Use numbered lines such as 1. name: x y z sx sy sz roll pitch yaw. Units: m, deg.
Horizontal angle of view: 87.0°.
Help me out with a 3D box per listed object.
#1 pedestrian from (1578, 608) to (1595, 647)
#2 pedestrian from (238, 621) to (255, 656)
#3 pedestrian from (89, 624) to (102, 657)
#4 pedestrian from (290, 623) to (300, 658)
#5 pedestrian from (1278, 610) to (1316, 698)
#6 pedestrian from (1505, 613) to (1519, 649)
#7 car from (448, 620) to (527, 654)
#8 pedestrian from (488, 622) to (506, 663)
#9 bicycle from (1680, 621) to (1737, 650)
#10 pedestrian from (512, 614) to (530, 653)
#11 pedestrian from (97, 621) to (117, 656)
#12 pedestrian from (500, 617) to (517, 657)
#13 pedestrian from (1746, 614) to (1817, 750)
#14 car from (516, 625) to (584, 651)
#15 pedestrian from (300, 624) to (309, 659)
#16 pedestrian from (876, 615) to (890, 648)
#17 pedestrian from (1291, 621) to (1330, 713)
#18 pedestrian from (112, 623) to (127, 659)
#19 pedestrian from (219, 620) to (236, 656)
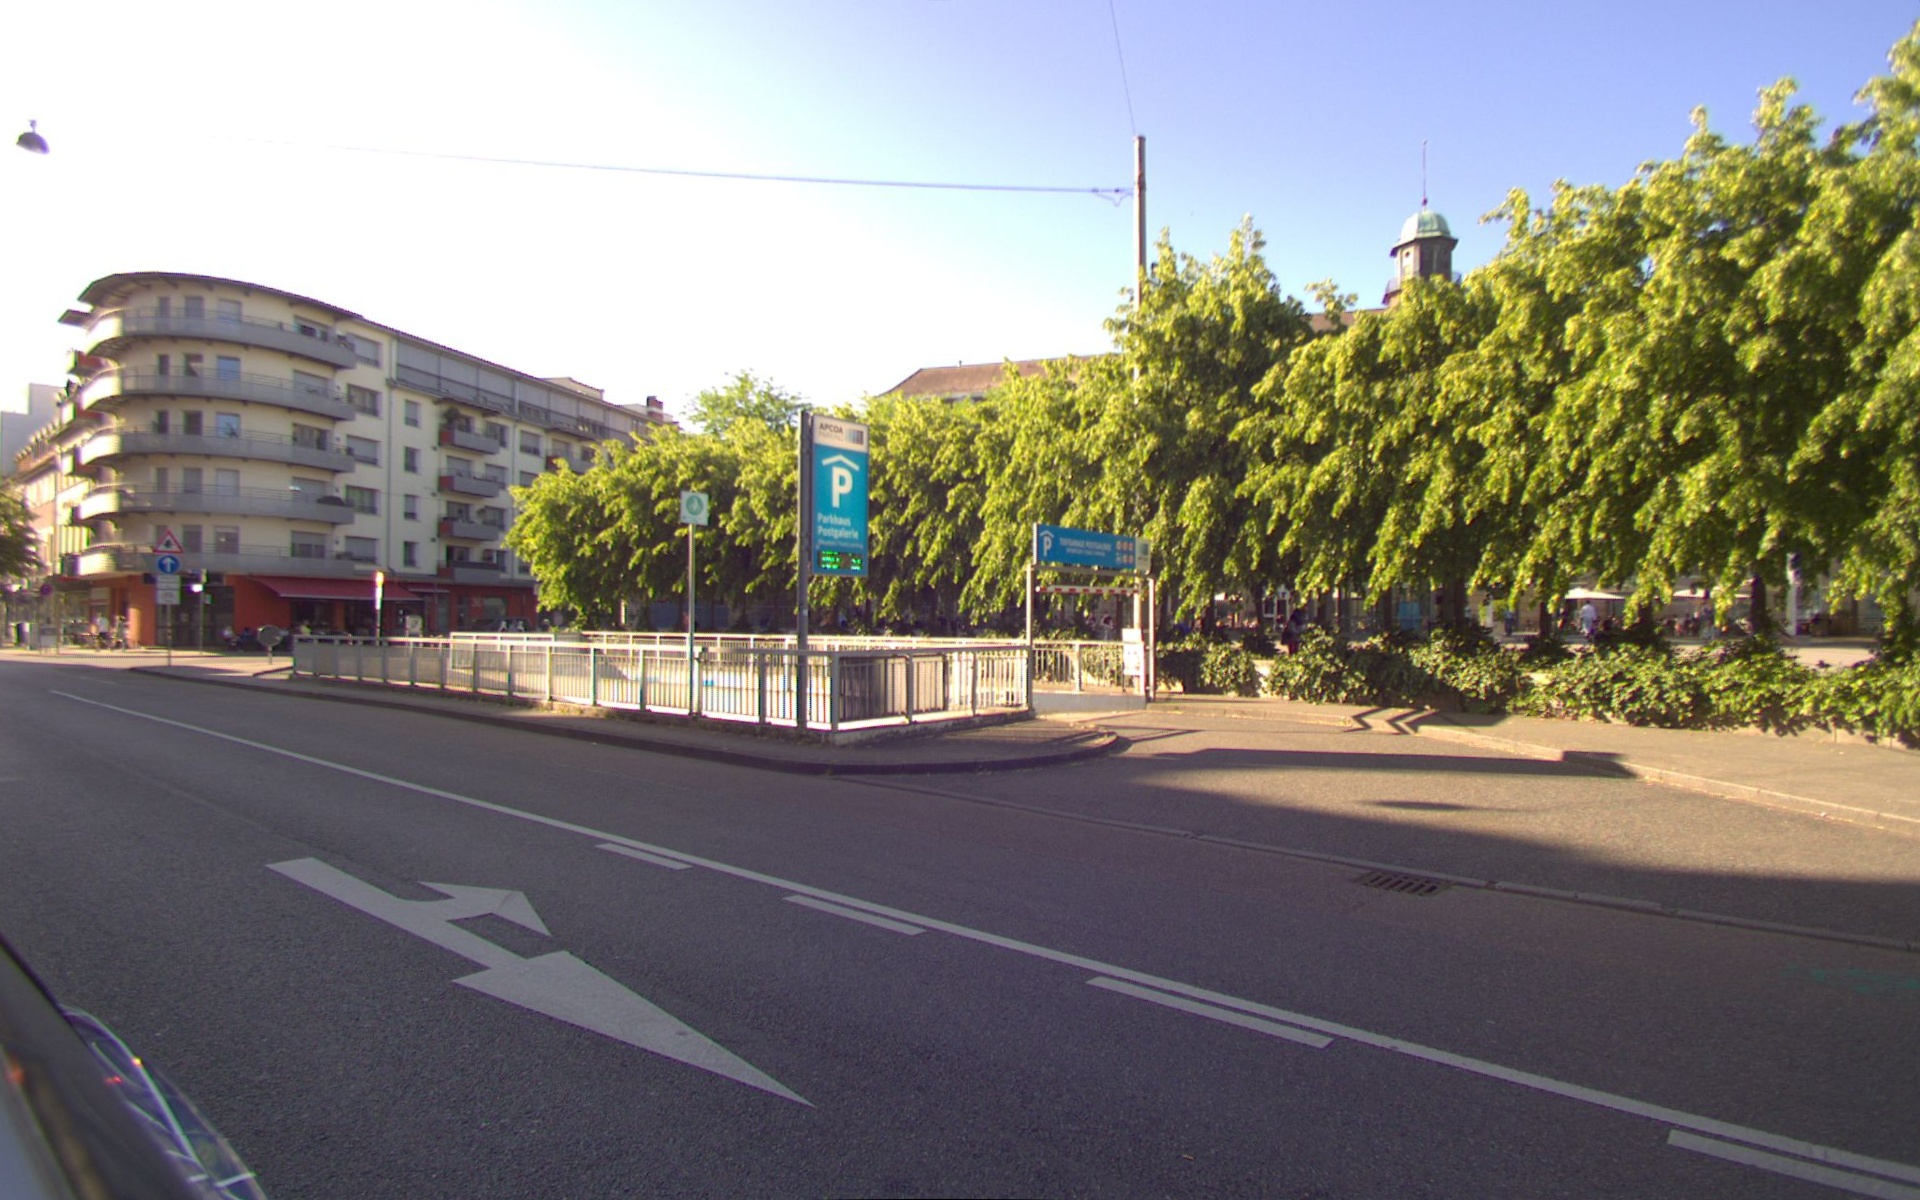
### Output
1. pedestrian: 28.753 1.256 46.448 0.598 1.806 0.577 -1 -1 27
2. pedestrian: -34.865 1.871 49.439 0.642 1.721 0.568 -2 -2 43
3. pedestrian: -40.634 1.887 47.566 0.515 1.541 0.371 -1 -1 37
4. pedestrian: -32.320 1.962 49.212 0.318 1.680 0.362 0 -1 -17
5. pedestrian: 7.352 1.160 22.072 0.674 1.870 0.577 -1 -1 30
6. pedestrian: 27.559 1.544 50.510 0.599 1.806 0.576 -1 -1 31
7. car: -28.673 2.229 61.559 1.938 1.927 4.403 -1 -1 16
8. pedestrian: -20.926 1.905 45.724 0.574 1.806 0.602 -1 -1 -5
9. bicycle: 28.297 1.324 38.285 0.496 1.024 2.061 -1 0 -3
10. pedestrian: -20.484 1.549 47.251 0.574 1.806 0.601 -1 -1 0
11. pedestrian: -40.342 1.820 47.862 0.792 1.634 0.563 -1 -1 37
12. pedestrian: -20.705 1.707 46.424 0.574 1.806 0.602 -1 -1 -5
13. pedestrian: 11.708 1.140 14.425 0.732 1.870 0.574 -1 -1 44
14. car: -27.117 2.516 67.103 1.938 1.633 4.272 -1 -1 16
15. pedestrian: -32.011 2.021 49.426 0.266 1.680 0.362 0 -1 -17
16. pedestrian: -4.372 1.783 57.497 0.578 1.806 0.597 -1 -1 20
17. pedestrian: 7.305 1.376 21.103 0.600 1.870 0.575 -1 -1 38
18. pedestrian: -40.069 1.957 48.229 0.515 1.685 0.437 -1 -1 37
19. pedestrian: -35.661 1.827 49.258 0.642 1.721 0.568 -2 -2 43
